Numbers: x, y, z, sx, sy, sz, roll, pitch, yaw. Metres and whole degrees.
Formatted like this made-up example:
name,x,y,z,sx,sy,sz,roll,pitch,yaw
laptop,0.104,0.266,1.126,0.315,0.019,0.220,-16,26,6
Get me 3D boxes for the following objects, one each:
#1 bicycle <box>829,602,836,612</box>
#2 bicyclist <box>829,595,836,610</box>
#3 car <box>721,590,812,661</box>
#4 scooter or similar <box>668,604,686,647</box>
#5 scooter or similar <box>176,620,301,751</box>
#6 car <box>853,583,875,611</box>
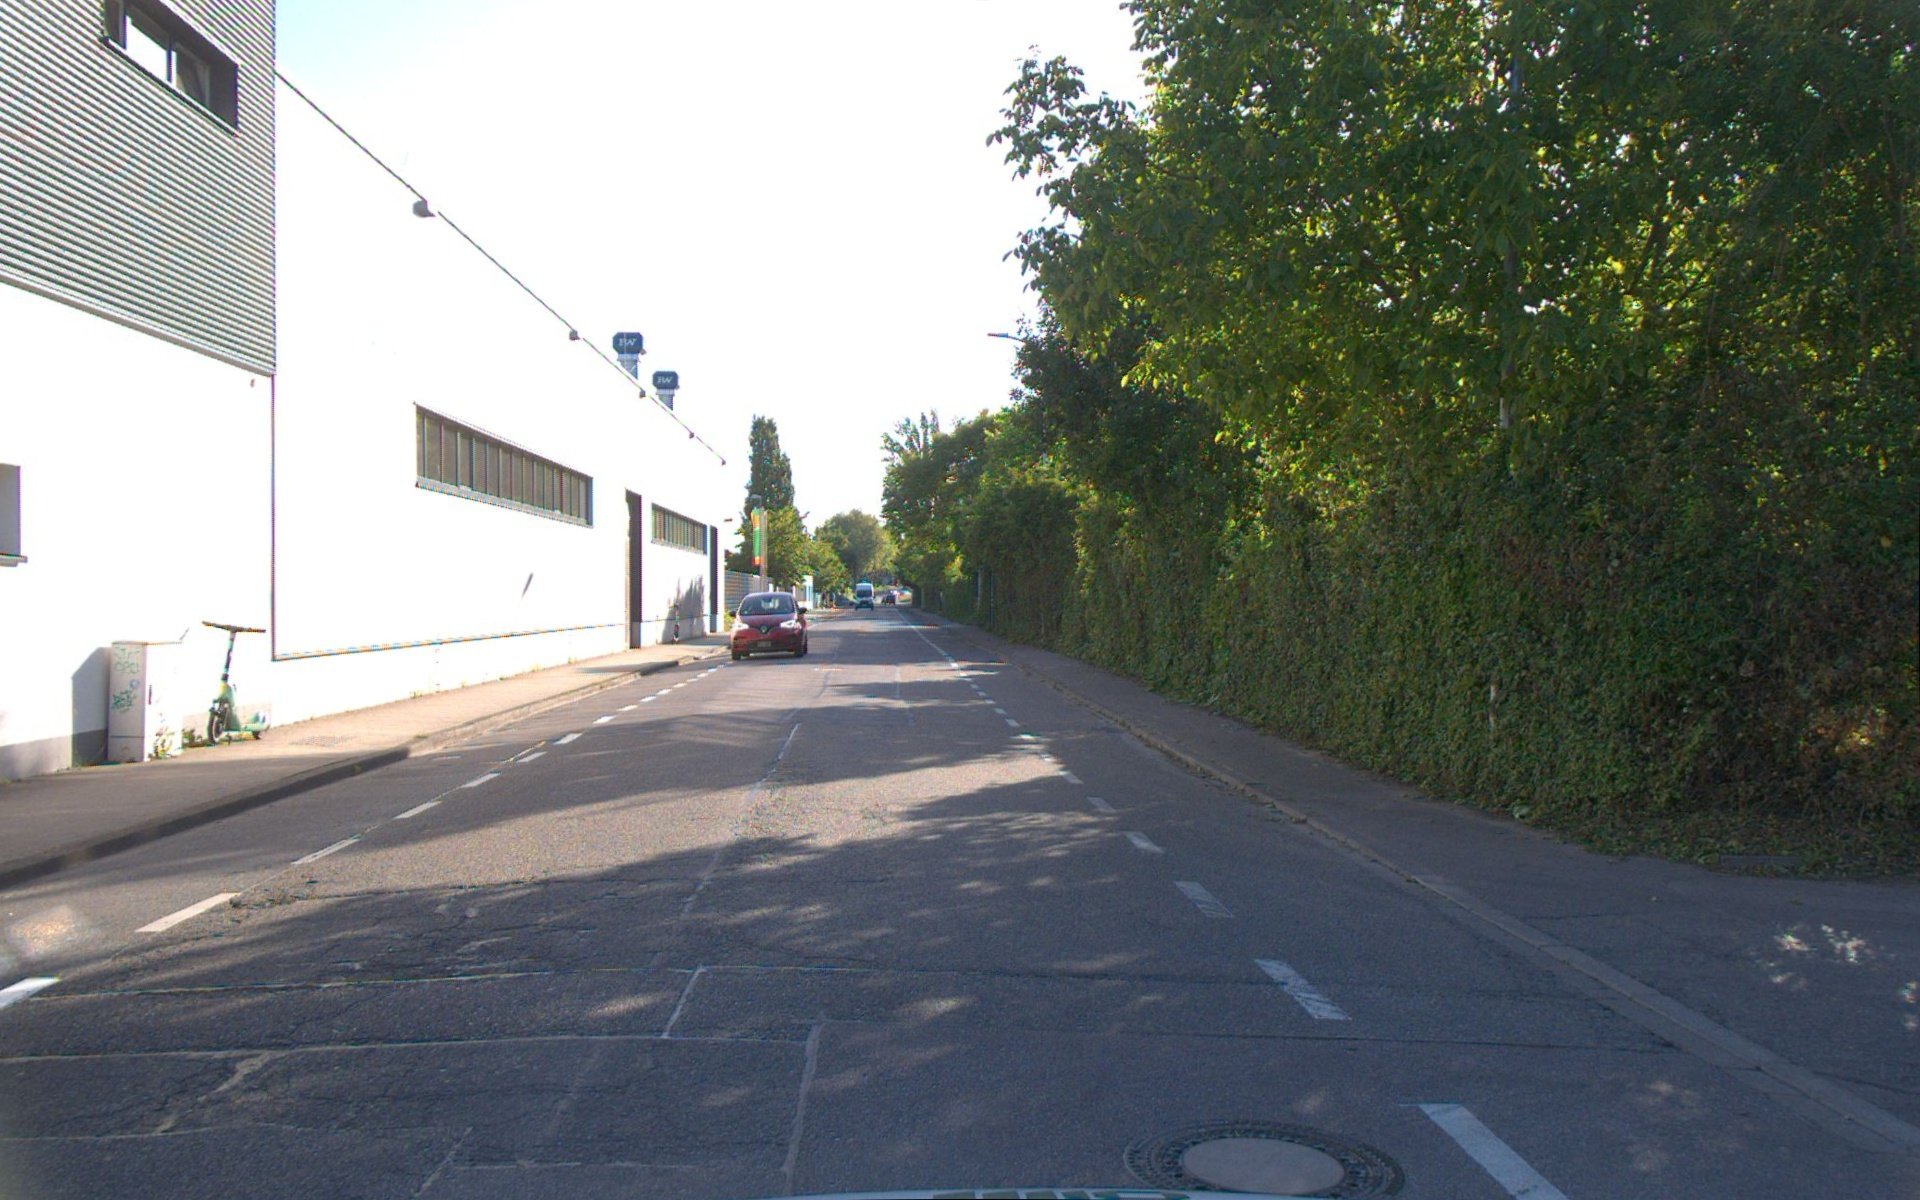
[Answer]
name,x,y,z,sx,sy,sz,roll,pitch,yaw
bicycle,-13.959,0.806,181.231,0.675,1.052,1.350,1,0,-3
bicyclist,-13.943,0.273,181.247,0.675,1.559,0.722,1,0,-3
car,-4.663,0.595,40.301,1.781,1.515,3.999,-4,0,-2
scooter or similar,-8.734,0.776,51.088,0.408,1.289,1.059,0,0,-3
scooter or similar,-7.274,0.833,16.752,0.497,1.224,1.752,3,-1,-2
car,-10.272,-0.297,177.442,2.080,2.829,5.923,-2,0,-3
